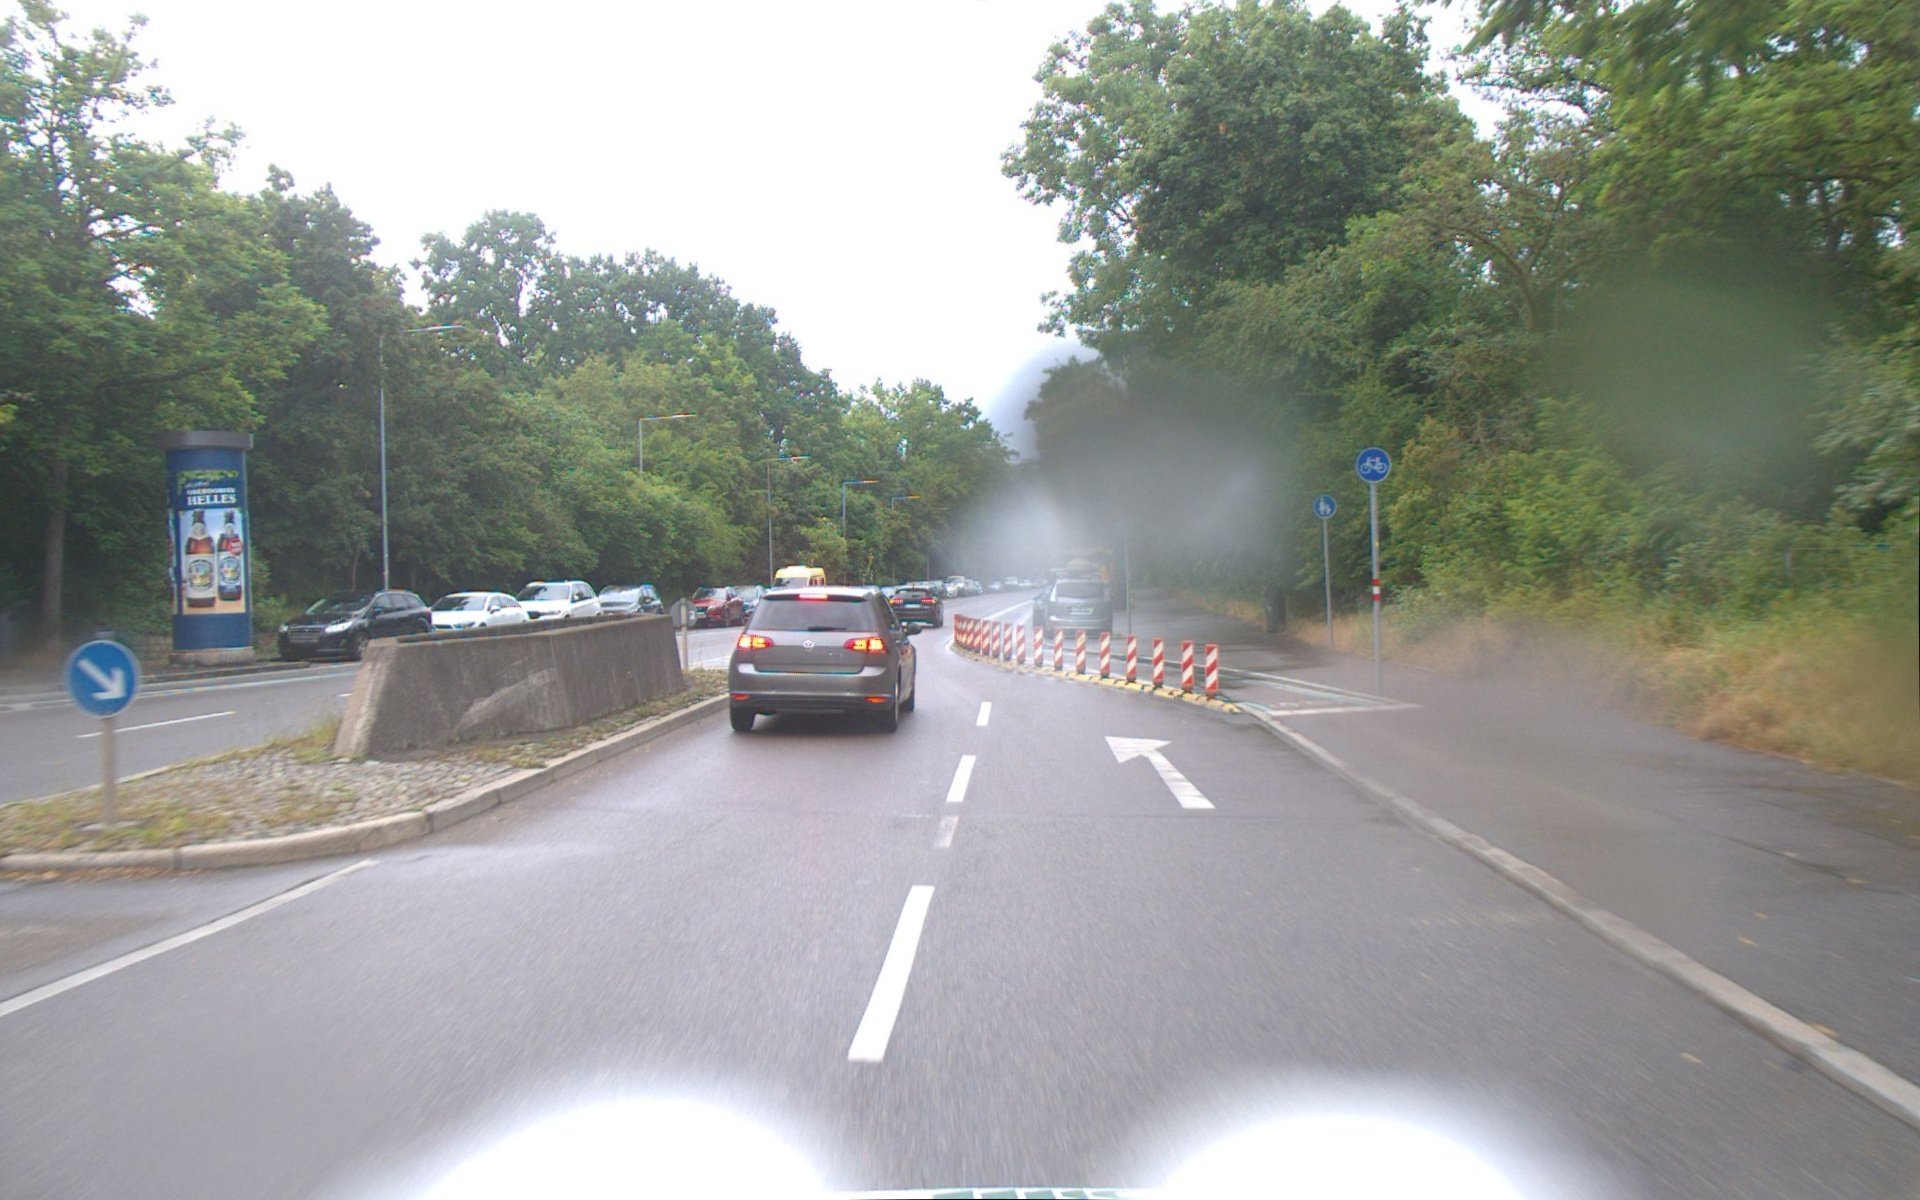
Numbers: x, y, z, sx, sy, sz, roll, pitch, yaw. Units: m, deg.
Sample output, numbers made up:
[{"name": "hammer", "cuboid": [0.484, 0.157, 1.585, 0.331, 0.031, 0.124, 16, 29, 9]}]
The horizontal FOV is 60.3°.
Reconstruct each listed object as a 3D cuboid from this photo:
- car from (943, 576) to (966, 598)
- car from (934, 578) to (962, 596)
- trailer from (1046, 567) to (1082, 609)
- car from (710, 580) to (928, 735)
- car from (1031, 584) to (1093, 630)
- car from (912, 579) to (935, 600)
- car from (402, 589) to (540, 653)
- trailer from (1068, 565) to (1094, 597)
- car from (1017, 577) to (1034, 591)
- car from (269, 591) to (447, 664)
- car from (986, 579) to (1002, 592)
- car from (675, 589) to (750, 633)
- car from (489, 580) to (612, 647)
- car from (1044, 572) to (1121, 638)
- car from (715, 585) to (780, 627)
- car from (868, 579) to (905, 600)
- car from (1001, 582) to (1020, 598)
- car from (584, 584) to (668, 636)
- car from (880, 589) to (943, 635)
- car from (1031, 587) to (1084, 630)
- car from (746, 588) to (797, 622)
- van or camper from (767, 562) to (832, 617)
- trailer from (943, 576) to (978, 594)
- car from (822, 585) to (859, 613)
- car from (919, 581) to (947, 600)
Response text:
[{"name": "car", "cuboid": [-0.555, -1.243, 158.075, 1.899, 2.049, 4.742, -1, 1, 3]}, {"name": "car", "cuboid": [-1.059, -1.193, 147.577, 1.951, 1.514, 4.472, -1, 1, 6]}, {"name": "trailer", "cuboid": [5.829, -0.691, 92.576, 1.866, 2.287, 4.771, -1, 1, 5]}, {"name": "car", "cuboid": [-1.396, 0.574, 18.033, 1.832, 1.466, 4.297, 1, -1, 2]}, {"name": "car", "cuboid": [3.286, 0.221, 53.879, 1.814, 1.423, 4.386, 0, 0, 1]}, {"name": "car", "cuboid": [-2.812, -0.804, 127.917, 1.430, 1.598, 2.986, -1, 1, 5]}, {"name": "car", "cuboid": [-12.321, 0.489, 41.974, 1.682, 1.485, 4.711, -1, 1, 5]}, {"name": "trailer", "cuboid": [10.154, -1.625, 138.969, 2.087, 2.605, 4.299, -1, 1, 3]}, {"name": "car", "cuboid": [9.981, -2.470, 252.259, 2.113, 2.049, 5.035, -1, 1, 7]}, {"name": "car", "cuboid": [-13.068, 0.554, 36.211, 1.712, 1.470, 4.591, 0, 1, 8]}, {"name": "car", "cuboid": [4.194, -1.740, 203.049, 1.637, 1.540, 3.633, 0, 1, 5]}, {"name": "car", "cuboid": [-9.994, 0.402, 67.115, 1.878, 1.645, 4.493, -2, 0, 6]}, {"name": "car", "cuboid": [-11.763, 0.352, 47.854, 1.951, 1.796, 4.963, -1, 0, 5]}, {"name": "car", "cuboid": [3.203, 0.108, 43.845, 1.784, 1.643, 4.252, 0, 0, 1]}, {"name": "car", "cuboid": [-9.297, 0.247, 72.673, 1.952, 1.730, 4.618, -1, 1, 4]}, {"name": "car", "cuboid": [-4.853, -0.687, 109.903, 1.830, 1.326, 4.473, -1, 1, 5]}, {"name": "car", "cuboid": [6.959, -1.367, 227.972, 2.113, 2.049, 5.035, -1, 1, 7]}, {"name": "car", "cuboid": [-11.146, 0.295, 55.503, 1.695, 1.677, 4.573, 0, 1, 2]}, {"name": "car", "cuboid": [-1.646, 0.388, 57.255, 1.841, 1.491, 4.002, 1, 1, 3]}, {"name": "car", "cuboid": [3.562, 0.286, 60.080, 1.817, 1.480, 4.753, 0, 1, 4]}, {"name": "car", "cuboid": [-8.836, 0.216, 77.629, 1.583, 1.474, 3.659, -2, 1, 6]}, {"name": "van or camper", "cuboid": [-8.088, -0.552, 84.049, 2.098, 2.673, 5.687, -1, 1, 6]}, {"name": "trailer", "cuboid": [0.033, -1.505, 162.978, 1.598, 1.657, 3.658, -1, 1, 36]}, {"name": "car", "cuboid": [-6.841, -0.060, 94.907, 1.568, 1.536, 3.141, -1, 1, 7]}, {"name": "car", "cuboid": [-2.239, -0.820, 138.735, 1.839, 1.588, 4.472, -1, 1, 6]}]
